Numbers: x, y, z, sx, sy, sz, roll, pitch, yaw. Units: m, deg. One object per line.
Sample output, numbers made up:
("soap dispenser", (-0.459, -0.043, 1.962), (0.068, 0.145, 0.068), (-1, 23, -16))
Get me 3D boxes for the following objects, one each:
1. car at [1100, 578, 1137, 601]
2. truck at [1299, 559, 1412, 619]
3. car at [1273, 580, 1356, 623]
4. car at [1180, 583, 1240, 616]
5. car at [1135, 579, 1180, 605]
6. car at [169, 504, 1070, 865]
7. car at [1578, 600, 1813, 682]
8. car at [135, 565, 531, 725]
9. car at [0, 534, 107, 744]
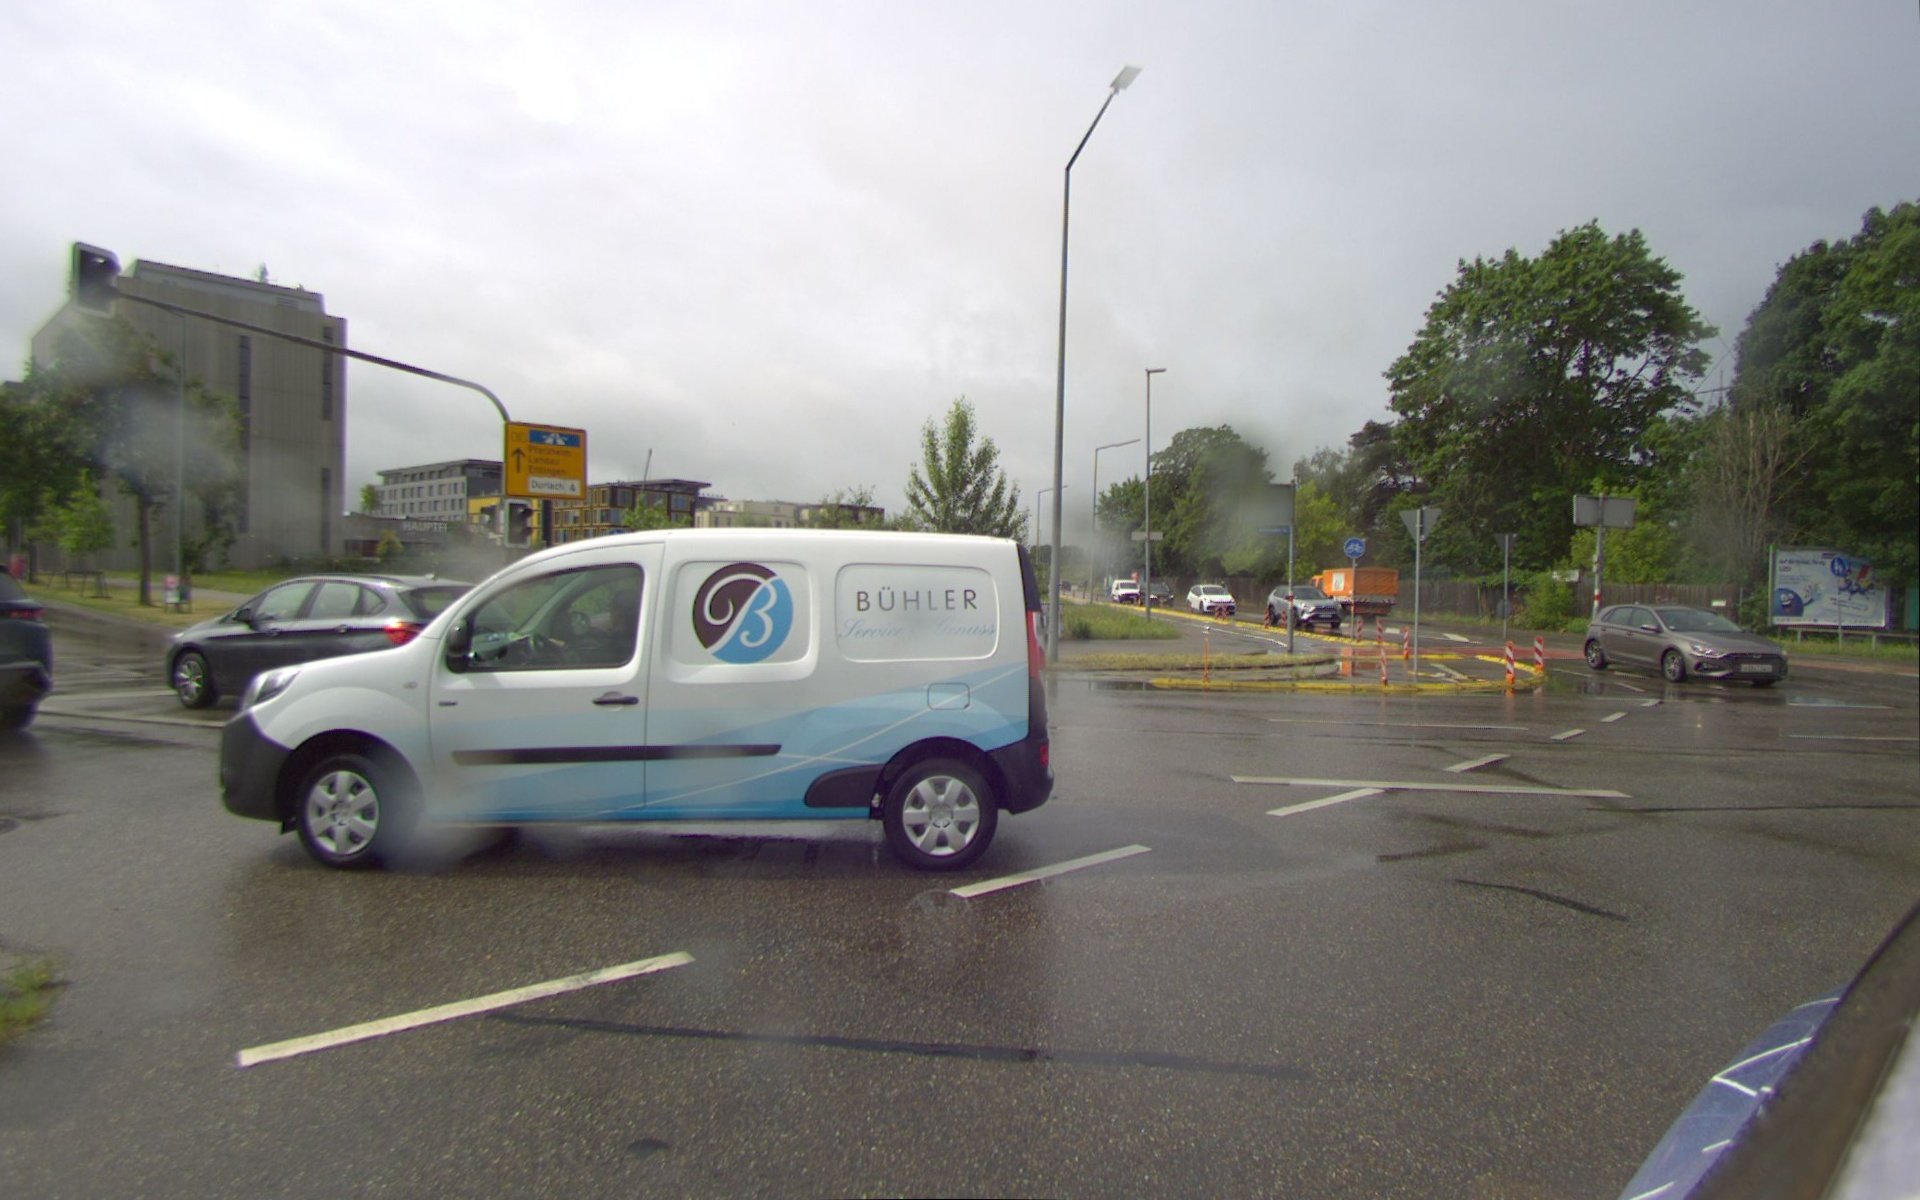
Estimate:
("car", (12.282, -0.839, 78.607), (1.838, 1.684, 4.488), (-1, 1, -4))
("truck", (19.518, -0.574, 50.420), (2.413, 2.760, 6.952), (1, 1, -4))
("car", (14.548, 0.020, 41.838), (1.840, 1.684, 4.483), (0, 1, 0))
("car", (13.470, -0.088, 54.792), (1.838, 1.684, 4.488), (-1, 1, -5))
("car", (13.334, -0.567, 68.656), (1.838, 1.684, 4.488), (-1, 1, -4))
("car", (-1.735, 0.442, 6.066), (4.461, 1.785, 1.869), (1, 0, -4))
("car", (14.305, 0.729, 20.014), (1.703, 1.431, 4.126), (0, 0, 2))
("car", (-7.207, 0.426, 11.704), (3.948, 1.547, 1.800), (2, 1, 19))
("car", (-10.213, 0.265, 9.147), (4.270, 1.779, 2.028), (2, 0, 21))
